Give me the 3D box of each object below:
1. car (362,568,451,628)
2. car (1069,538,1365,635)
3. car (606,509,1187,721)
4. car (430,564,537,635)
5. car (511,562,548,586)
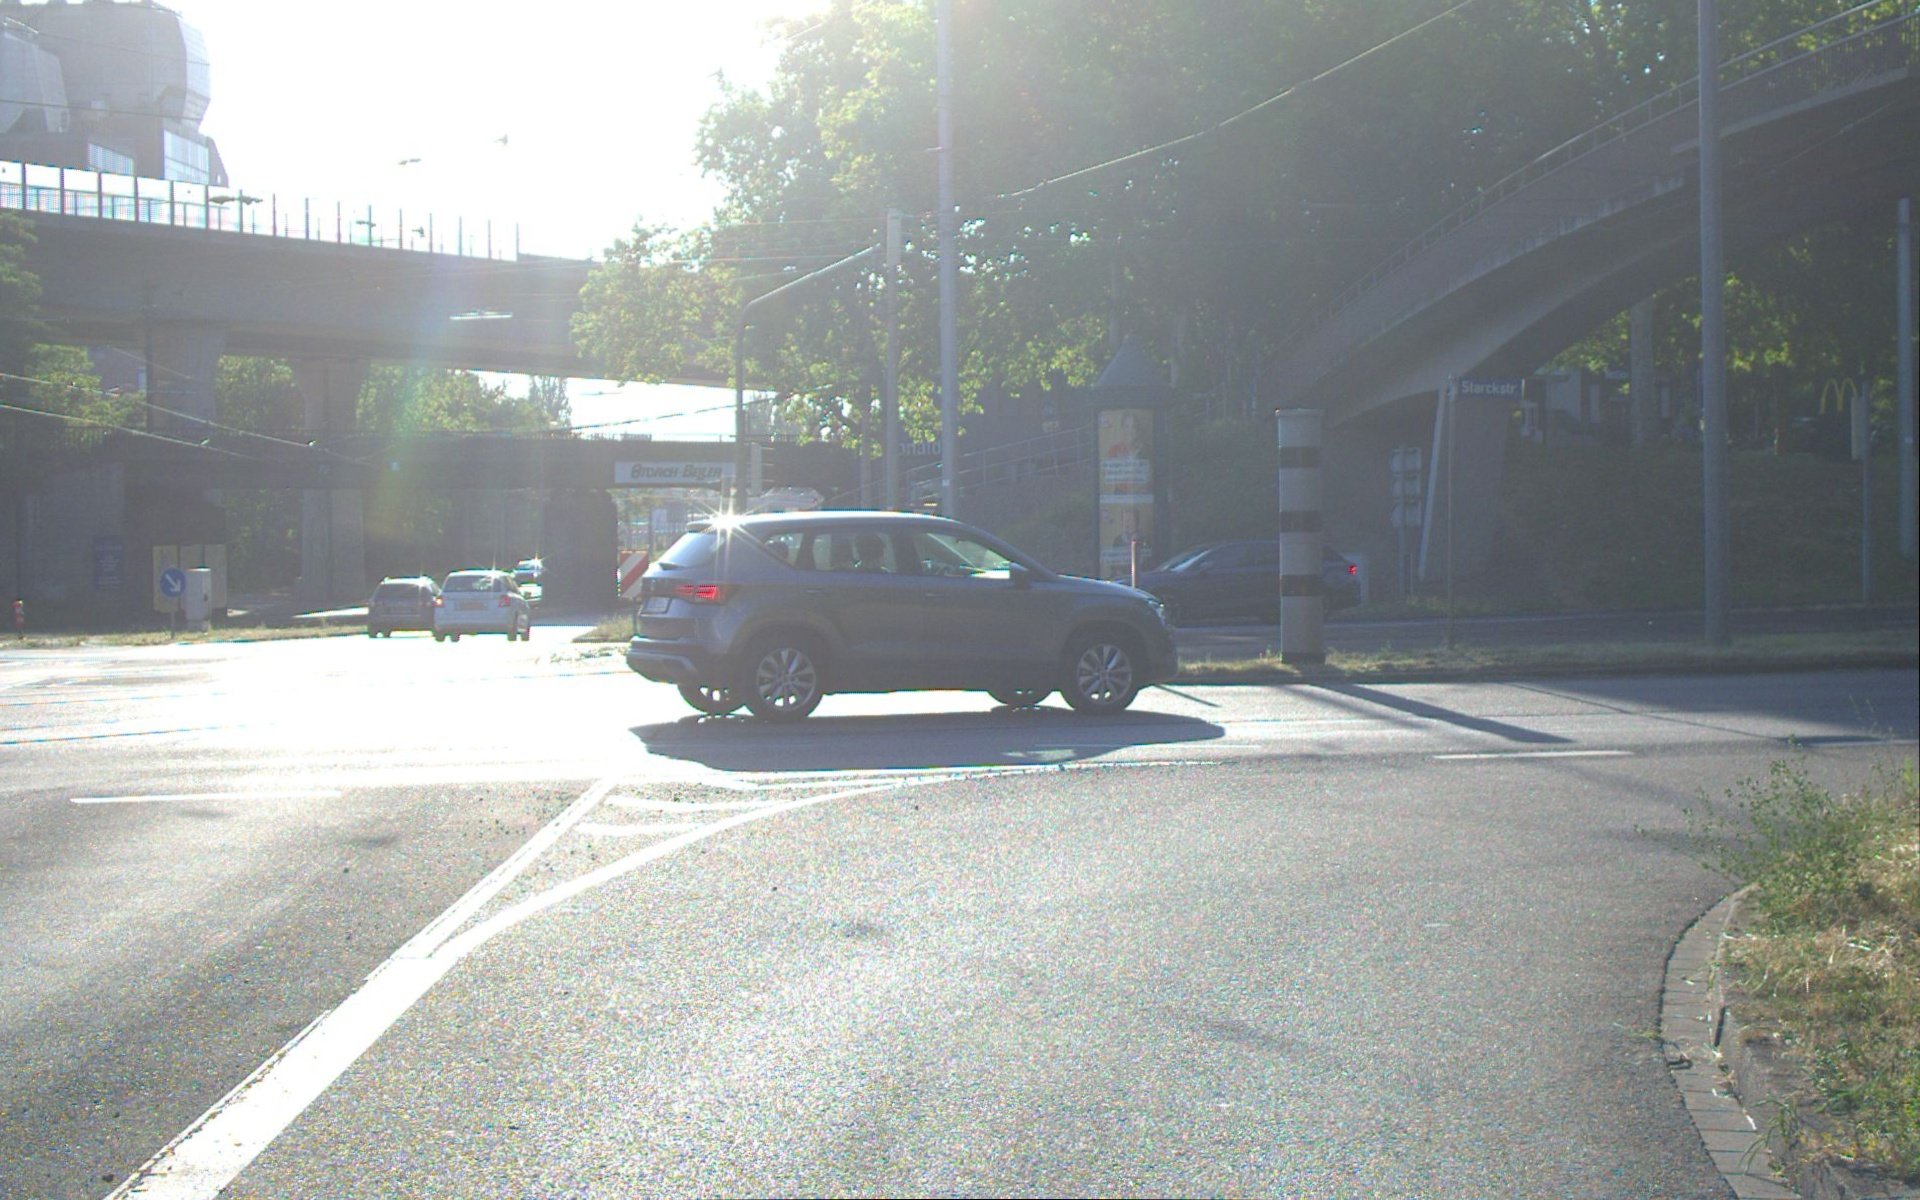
[{"bbox_3d":[-13.779,-0.070,85.800,1.665,1.400,4.445,0,1,-2],"label":"car"},{"bbox_3d":[4.252,-0.221,57.000,4.574,1.569,1.694,0,1,-17],"label":"car"},{"bbox_3d":[-0.501,0.088,26.996,4.234,1.569,1.694,0,1,-22],"label":"car"},{"bbox_3d":[-9.793,-0.034,70.907,1.665,1.400,4.197,0,1,0],"label":"car"},{"bbox_3d":[-25.660,-1.555,205.085,1.606,1.414,4.008,0,1,1],"label":"car"}]
